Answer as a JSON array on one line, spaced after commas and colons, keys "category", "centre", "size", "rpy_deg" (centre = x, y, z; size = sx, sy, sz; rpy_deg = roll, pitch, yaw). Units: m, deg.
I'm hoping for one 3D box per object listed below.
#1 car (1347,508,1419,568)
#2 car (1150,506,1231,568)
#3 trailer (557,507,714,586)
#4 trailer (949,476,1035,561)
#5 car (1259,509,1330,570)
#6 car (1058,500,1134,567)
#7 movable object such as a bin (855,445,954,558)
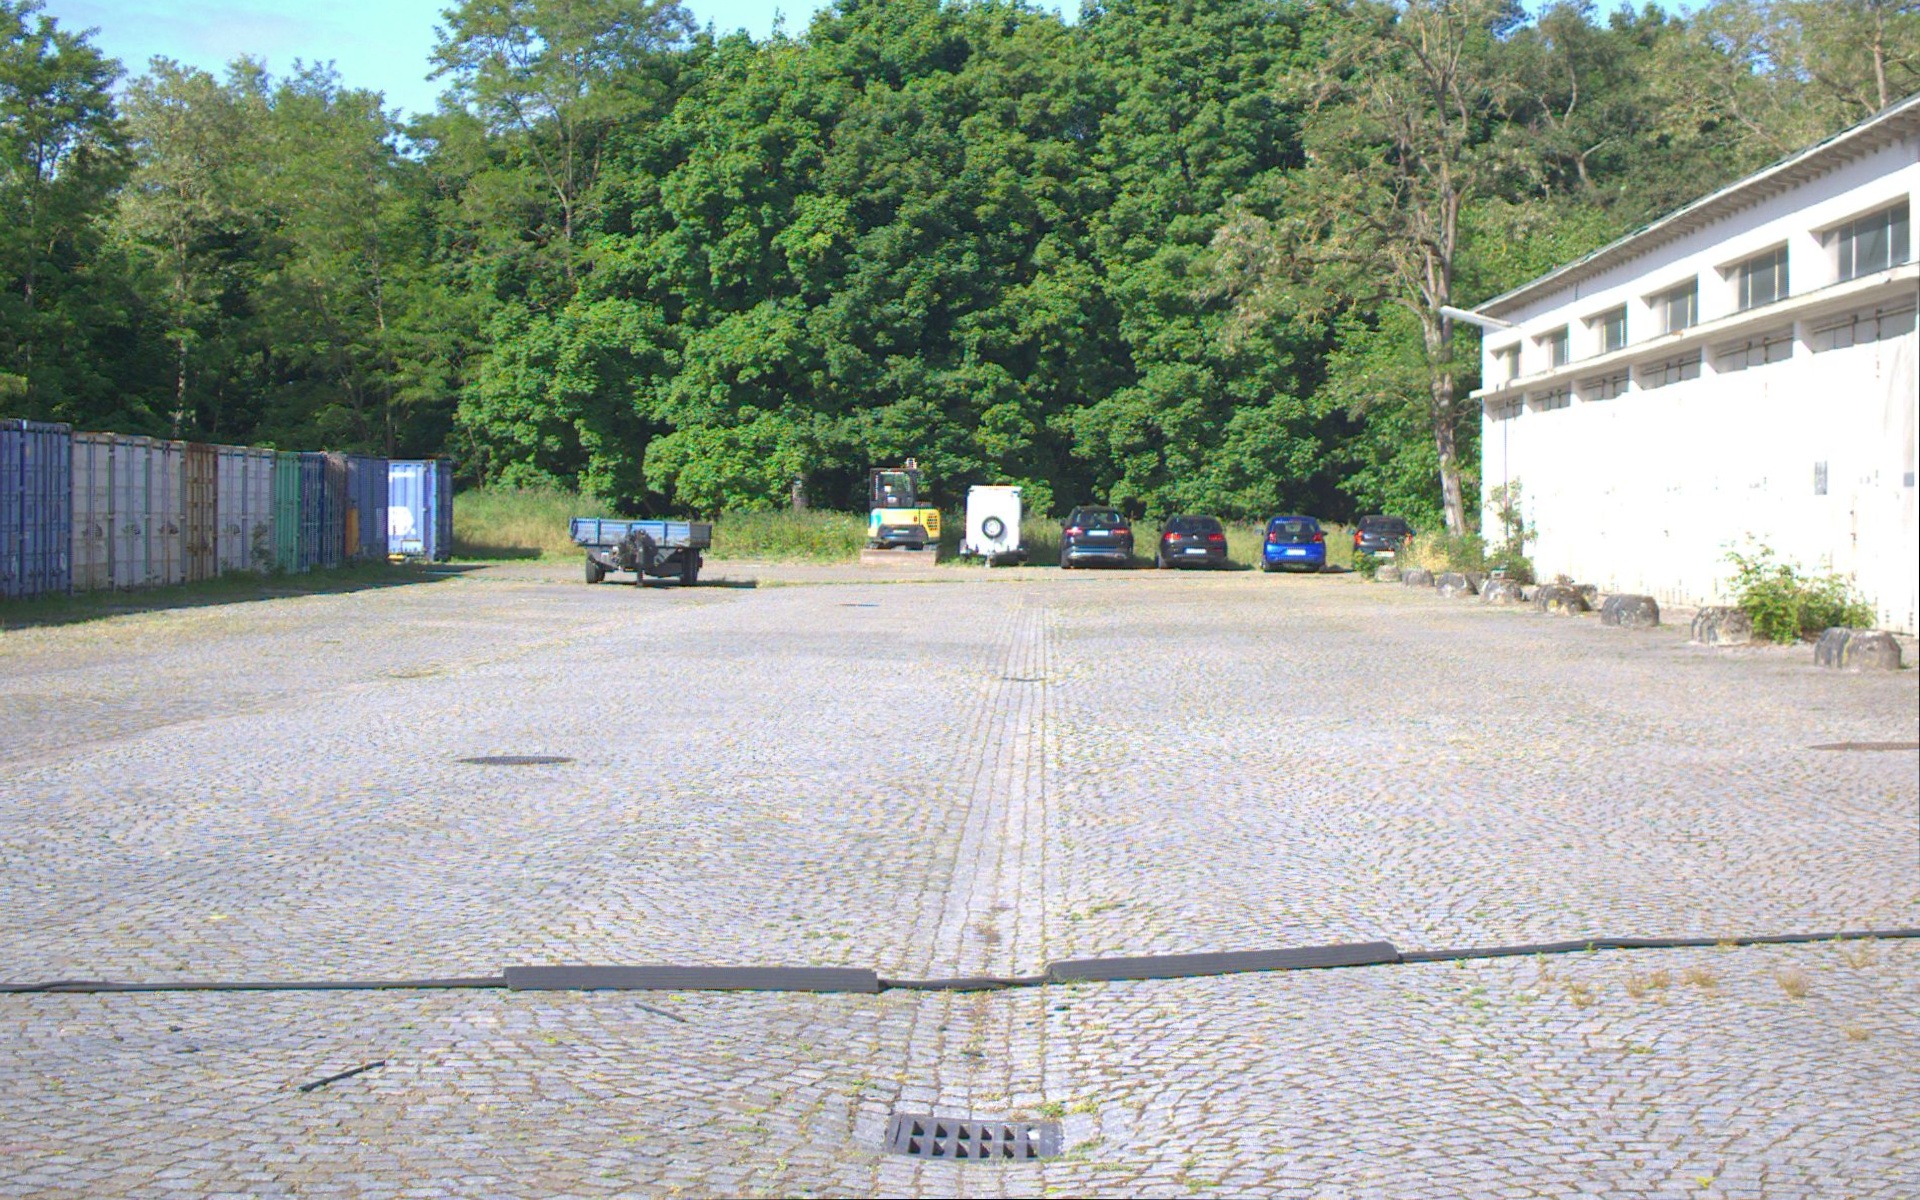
[{"category": "car", "centre": [11.288, -1.664, 91.571], "size": [1.745, 1.431, 4.182], "rpy_deg": [2, 3, 8]}, {"category": "car", "centre": [6.036, -1.669, 90.388], "size": [1.863, 1.465, 4.296], "rpy_deg": [2, 3, 1]}, {"category": "trailer", "centre": [-6.796, -1.168, 72.708], "size": [2.705, 1.460, 6.248], "rpy_deg": [1, 2, 0]}, {"category": "trailer", "centre": [0.894, -2.222, 92.548], "size": [2.193, 2.087, 5.751], "rpy_deg": [2, 3, 1]}, {"category": "car", "centre": [8.802, -1.604, 90.242], "size": [1.744, 1.431, 4.182], "rpy_deg": [2, 3, 6]}, {"category": "car", "centre": [3.539, -1.767, 90.095], "size": [1.863, 1.583, 4.296], "rpy_deg": [2, 3, 1]}, {"category": "movable object such as a bin", "centre": [-1.467, -2.717, 93.202], "size": [2.306, 2.886, 5.751], "rpy_deg": [2, 3, 2]}]
